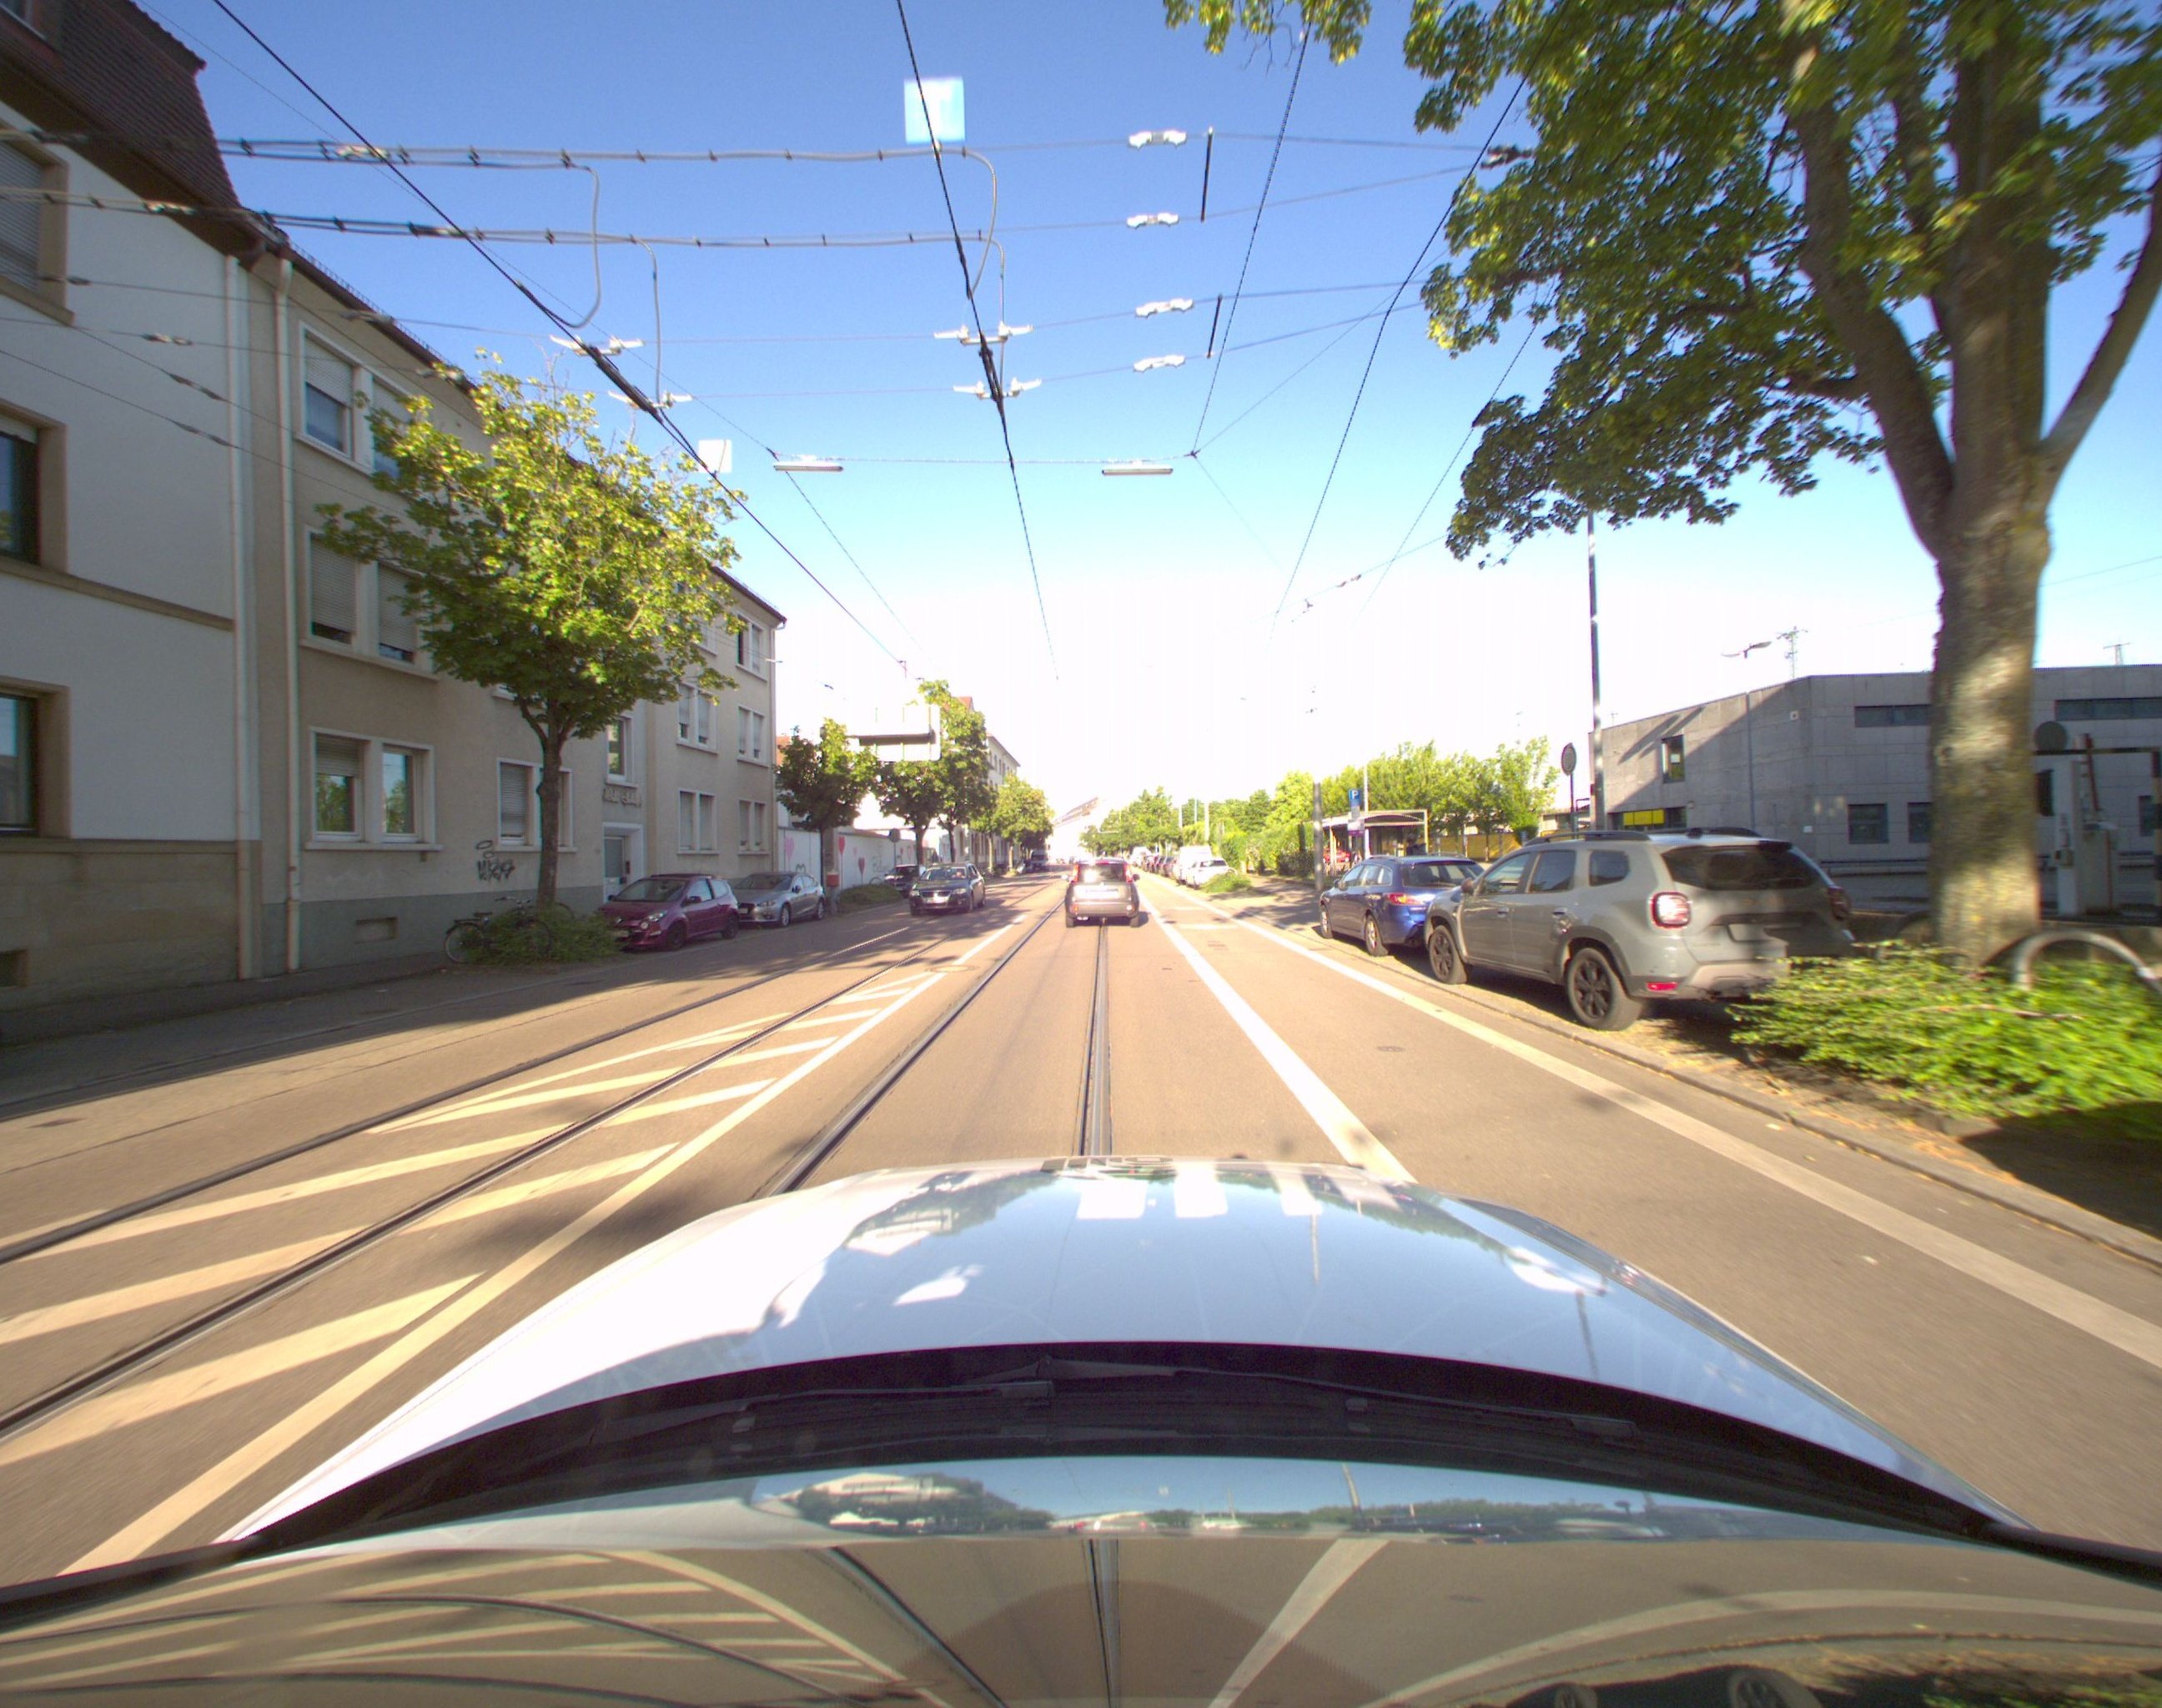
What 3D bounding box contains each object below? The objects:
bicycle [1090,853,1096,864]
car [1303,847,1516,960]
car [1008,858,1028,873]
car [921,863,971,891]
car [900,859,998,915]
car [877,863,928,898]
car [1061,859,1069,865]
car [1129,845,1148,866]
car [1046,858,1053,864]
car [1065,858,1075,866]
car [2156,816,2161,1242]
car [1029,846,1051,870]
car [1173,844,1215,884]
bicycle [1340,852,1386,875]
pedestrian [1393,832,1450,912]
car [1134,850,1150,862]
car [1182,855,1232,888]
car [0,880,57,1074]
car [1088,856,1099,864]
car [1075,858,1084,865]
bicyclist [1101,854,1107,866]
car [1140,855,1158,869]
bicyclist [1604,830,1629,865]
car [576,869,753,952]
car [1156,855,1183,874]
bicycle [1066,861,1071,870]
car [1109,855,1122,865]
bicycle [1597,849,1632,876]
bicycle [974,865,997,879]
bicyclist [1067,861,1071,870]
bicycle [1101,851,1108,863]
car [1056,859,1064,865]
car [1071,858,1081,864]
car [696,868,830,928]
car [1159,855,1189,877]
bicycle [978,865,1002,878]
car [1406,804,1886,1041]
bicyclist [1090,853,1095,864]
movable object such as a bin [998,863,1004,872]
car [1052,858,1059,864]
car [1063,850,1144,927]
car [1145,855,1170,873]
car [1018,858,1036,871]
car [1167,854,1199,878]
[{"bbox_3d":[1.951,0.803,131.129,0.675,1.747,2.151,0,-1,-9],"label":"bicycle"},{"bbox_3d":[5.101,0.694,13.404,1.696,1.481,4.660,-2,-1,2],"label":"car"},{"bbox_3d":[-6.511,1.205,84.640,1.645,1.491,4.002,0,-1,2],"label":"car"},{"bbox_3d":[-7.532,1.234,45.857,1.858,1.490,4.662,0,-1,1],"label":"car"},{"bbox_3d":[-3.864,0.924,24.726,1.757,1.463,4.754,-2,-1,5],"label":"car"},{"bbox_3d":[-8.171,1.164,37.609,1.770,1.486,4.297,0,-1,-5],"label":"car"},{"bbox_3d":[-3.937,2.116,205.115,1.655,1.500,3.120,0,-1,-9],"label":"car"},{"bbox_3d":[8.155,0.234,116.382,2.173,2.665,6.090,-4,-1,0],"label":"car"},{"bbox_3d":[-9.265,2.045,240.475,1.582,1.599,3.366,0,-1,-9],"label":"car"},{"bbox_3d":[-2.646,1.938,198.059,1.655,1.944,4.650,0,-1,-9],"label":"car"},{"bbox_3d":[4.561,0.623,0.537,1.706,1.490,4.625,0,0,2],"label":"car"},{"bbox_3d":[-4.927,0.511,98.716,2.009,2.826,6.036,0,-1,3],"label":"car"},{"bbox_3d":[6.105,0.518,44.476,1.846,1.991,5.247,-2,-1,4],"label":"car"},{"bbox_3d":[12.488,0.418,36.111,1.883,1.008,0.579,0,-1,13],"label":"bicycle"},{"bbox_3d":[8.033,0.415,19.280,0.668,1.789,1.304,-5,-1,1],"label":"pedestrian"},{"bbox_3d":[8.192,0.256,109.522,1.904,1.530,4.601,-2,-1,1],"label":"car"},{"bbox_3d":[5.986,0.821,39.139,1.670,1.418,4.502,-3,-1,0],"label":"car"},{"bbox_3d":[-9.233,1.020,5.483,1.350,1.502,2.549,0,2,2],"label":"car"},{"bbox_3d":[2.505,1.212,167.191,1.634,1.508,3.388,-4,0,-8],"label":"car"},{"bbox_3d":[-0.390,1.641,185.302,1.655,1.571,3.488,0,-1,-9],"label":"car"},{"bbox_3d":[3.414,0.862,122.344,0.699,1.759,0.755,0,-1,-9],"label":"bicyclist"},{"bbox_3d":[7.919,0.905,95.522,1.723,1.604,4.340,0,-1,-1],"label":"car"},{"bbox_3d":[21.612,-0.264,32.849,0.585,1.384,0.721,1,-1,-45],"label":"bicyclist"},{"bbox_3d":[-8.597,1.093,17.234,1.566,1.505,4.002,0,-1,2],"label":"car"},{"bbox_3d":[7.131,0.819,66.213,1.817,1.452,4.644,-2,-1,2],"label":"car"},{"bbox_3d":[-2.741,2.678,182.725,0.741,2.014,2.803,0,-1,-9],"label":"bicycle"},{"bbox_3d":[5.714,0.979,135.526,1.686,1.530,3.993,-3,0,-5],"label":"car"},{"bbox_3d":[21.525,0.327,32.848,2.021,1.071,0.745,0,-1,-44],"label":"bicycle"},{"bbox_3d":[-7.160,1.344,61.143,0.661,1.040,1.798,-1,-1,39],"label":"bicycle"},{"bbox_3d":[-2.769,2.692,182.895,0.715,2.014,0.829,0,-1,-9],"label":"bicyclist"},{"bbox_3d":[3.462,0.436,122.407,0.675,1.747,2.151,0,-1,-9],"label":"bicycle"},{"bbox_3d":[-5.449,2.008,215.441,1.583,1.405,3.366,-5,0,-9],"label":"car"},{"bbox_3d":[-1.208,1.626,189.653,1.655,1.571,3.864,0,-1,-9],"label":"car"},{"bbox_3d":[-8.551,1.125,22.331,1.866,1.429,4.295,0,-1,2],"label":"car"},{"bbox_3d":[6.532,0.830,57.878,1.817,1.484,4.604,0,-1,3],"label":"car"},{"bbox_3d":[-7.204,1.376,64.807,1.998,1.040,0.526,0,-1,-44],"label":"bicycle"},{"bbox_3d":[4.971,0.514,8.061,1.736,1.712,4.276,0,-1,-1],"label":"car"},{"bbox_3d":[1.907,0.760,131.070,0.699,1.759,0.755,0,-1,-9],"label":"bicyclist"},{"bbox_3d":[-8.831,1.458,89.985,0.594,0.934,0.568,-2,0,-1],"label":"movable object such as a bin"},{"bbox_3d":[-7.051,1.955,226.791,1.582,1.405,3.366,0,-1,-9],"label":"car"},{"bbox_3d":[0.535,0.739,19.144,1.644,1.541,4.236,-2,0,2],"label":"car"},{"bbox_3d":[6.777,0.885,72.228,1.818,1.493,3.814,-3,-1,0],"label":"car"},{"bbox_3d":[-6.025,1.134,91.087,1.645,1.425,4.191,0,-1,2],"label":"car"},{"bbox_3d":[6.579,0.792,52.819,1.865,1.473,4.079,0,-1,4],"label":"car"}]
